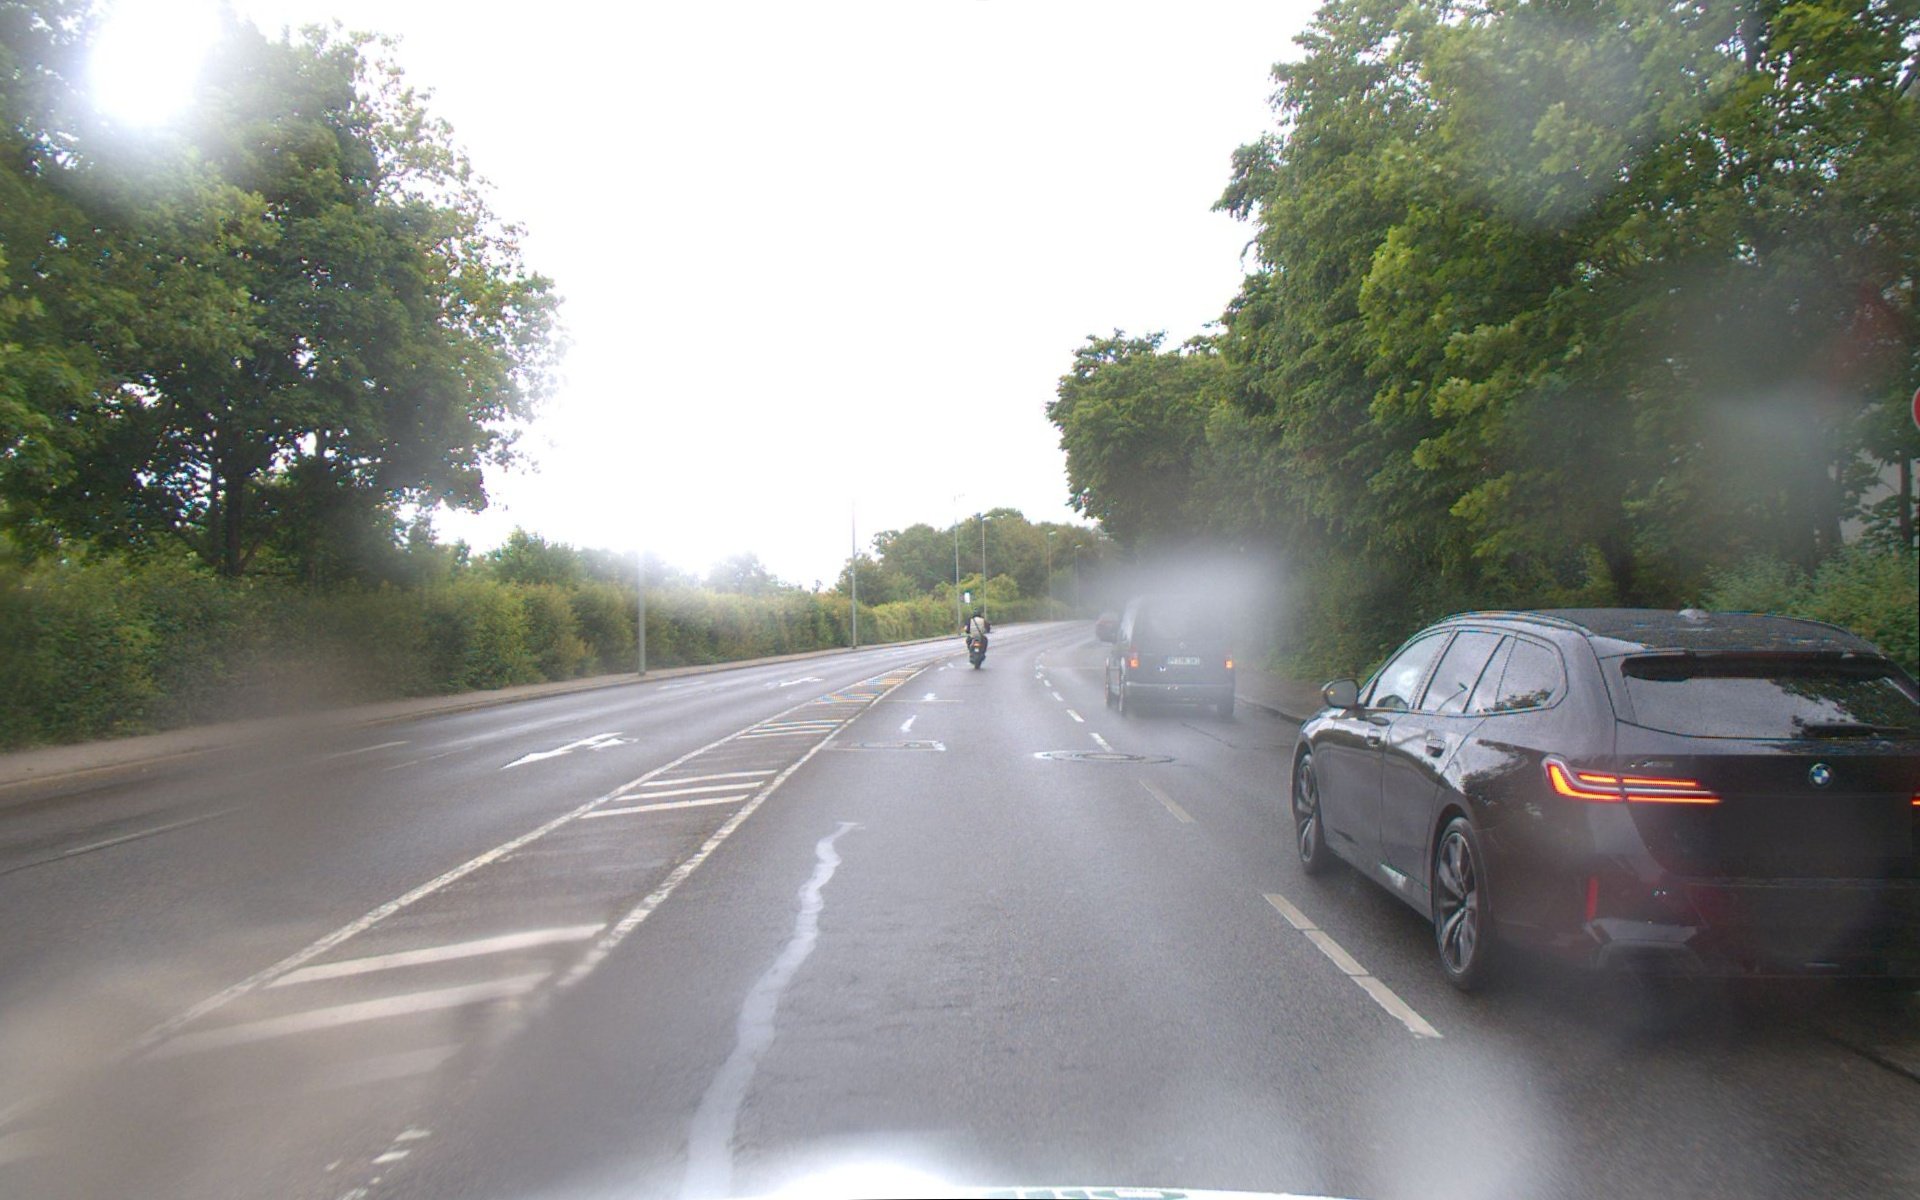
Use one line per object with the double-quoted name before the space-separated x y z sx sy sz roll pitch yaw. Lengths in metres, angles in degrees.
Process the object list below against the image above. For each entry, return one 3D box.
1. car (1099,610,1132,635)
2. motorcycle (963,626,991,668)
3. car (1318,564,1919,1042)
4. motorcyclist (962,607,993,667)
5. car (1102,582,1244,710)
"car" 10.129 1.446 107.551 1.972 1.440 4.490 0 1 7
"motorcycle" 0.500 1.325 46.899 0.726 1.139 1.427 0 1 3
"car" 2.866 0.705 7.329 1.728 1.563 3.672 1 -1 0
"motorcyclist" 0.502 1.042 46.884 0.827 1.676 0.468 -1 0 3
"car" 3.284 0.653 26.150 1.731 1.841 3.905 0 1 0
